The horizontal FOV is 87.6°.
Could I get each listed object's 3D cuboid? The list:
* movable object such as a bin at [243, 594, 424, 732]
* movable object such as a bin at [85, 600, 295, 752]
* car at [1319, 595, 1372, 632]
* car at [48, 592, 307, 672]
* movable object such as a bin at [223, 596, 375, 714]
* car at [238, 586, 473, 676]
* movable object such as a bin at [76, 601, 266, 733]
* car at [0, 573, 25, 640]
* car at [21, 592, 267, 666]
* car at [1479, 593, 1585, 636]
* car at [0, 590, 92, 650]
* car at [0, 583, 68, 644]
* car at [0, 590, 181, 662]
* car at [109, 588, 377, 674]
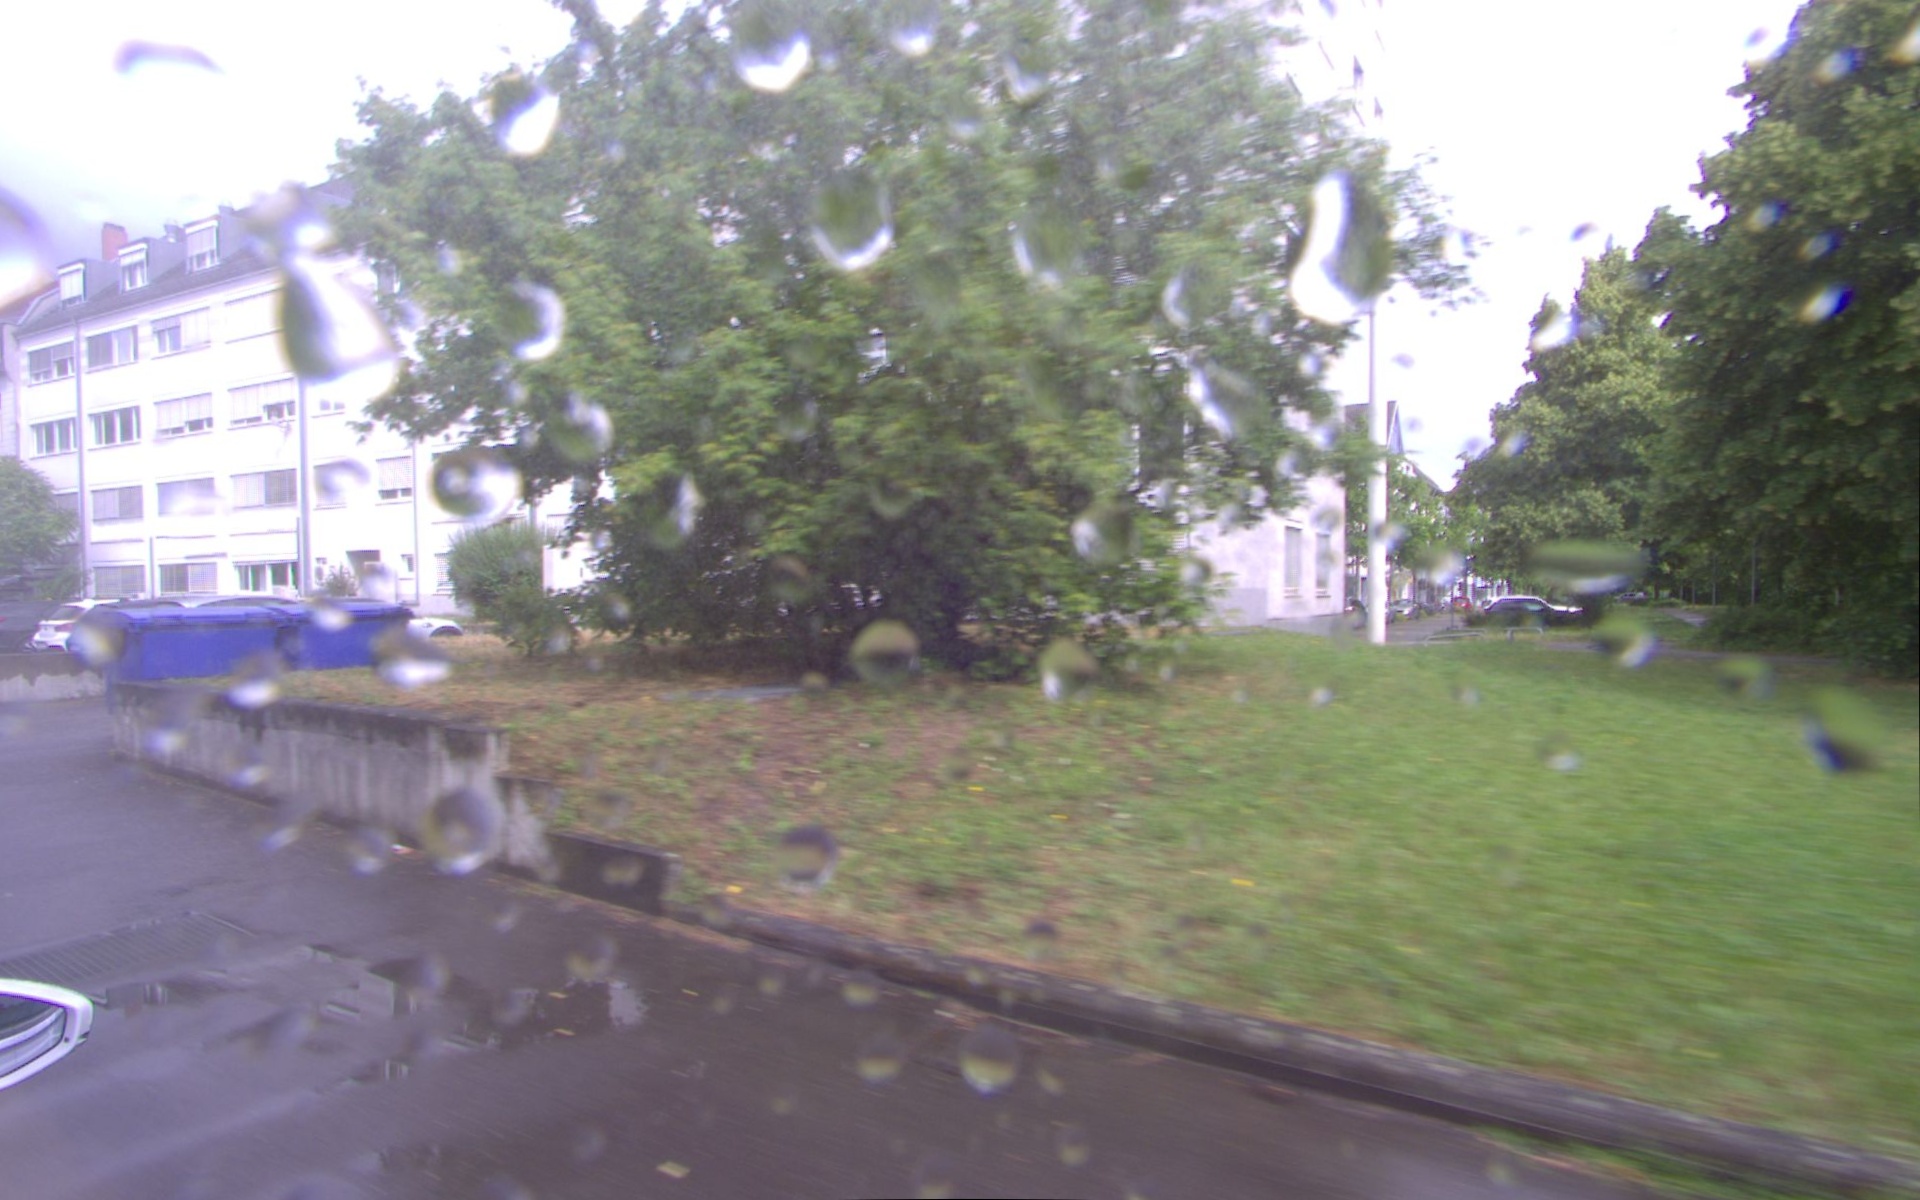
[{"bbox_3d":[-6.802,0.631,10.907,1.181,1.354,1.288,0,2,35],"label":"movable object such as a bin"},{"bbox_3d":[-7.478,0.680,9.761,1.080,1.309,1.333,1,2,35],"label":"movable object such as a bin"},{"bbox_3d":[21.045,0.685,54.537,1.970,1.815,4.212,2,3,31],"label":"car"},{"bbox_3d":[-16.634,0.609,21.515,1.745,1.422,3.981,0,2,28],"label":"car"},{"bbox_3d":[-8.019,0.622,12.177,1.091,1.322,1.182,0,2,34],"label":"movable object such as a bin"},{"bbox_3d":[-11.389,0.523,19.072,1.663,1.446,3.408,-1,2,30],"label":"car"},{"bbox_3d":[-8.705,0.685,11.077,1.068,1.322,1.367,0,2,35],"label":"movable object such as a bin"},{"bbox_3d":[-30.766,0.233,29.176,2.187,2.031,4.635,0,2,23],"label":"car"},{"bbox_3d":[-18.527,0.594,22.946,1.745,1.478,3.983,0,1,28],"label":"car"},{"bbox_3d":[29.584,0.695,51.831,4.522,1.968,2.039,3,3,36],"label":"car"},{"bbox_3d":[-25.578,0.547,26.239,1.725,1.534,3.904,0,2,28],"label":"car"},{"bbox_3d":[-28.096,0.408,28.300,1.791,1.710,3.900,0,2,31],"label":"car"},{"bbox_3d":[-21.578,0.575,24.227,1.790,1.534,3.906,-1,1,26],"label":"car"},{"bbox_3d":[-14.260,0.539,20.162,1.779,1.465,3.980,0,2,30],"label":"car"}]
